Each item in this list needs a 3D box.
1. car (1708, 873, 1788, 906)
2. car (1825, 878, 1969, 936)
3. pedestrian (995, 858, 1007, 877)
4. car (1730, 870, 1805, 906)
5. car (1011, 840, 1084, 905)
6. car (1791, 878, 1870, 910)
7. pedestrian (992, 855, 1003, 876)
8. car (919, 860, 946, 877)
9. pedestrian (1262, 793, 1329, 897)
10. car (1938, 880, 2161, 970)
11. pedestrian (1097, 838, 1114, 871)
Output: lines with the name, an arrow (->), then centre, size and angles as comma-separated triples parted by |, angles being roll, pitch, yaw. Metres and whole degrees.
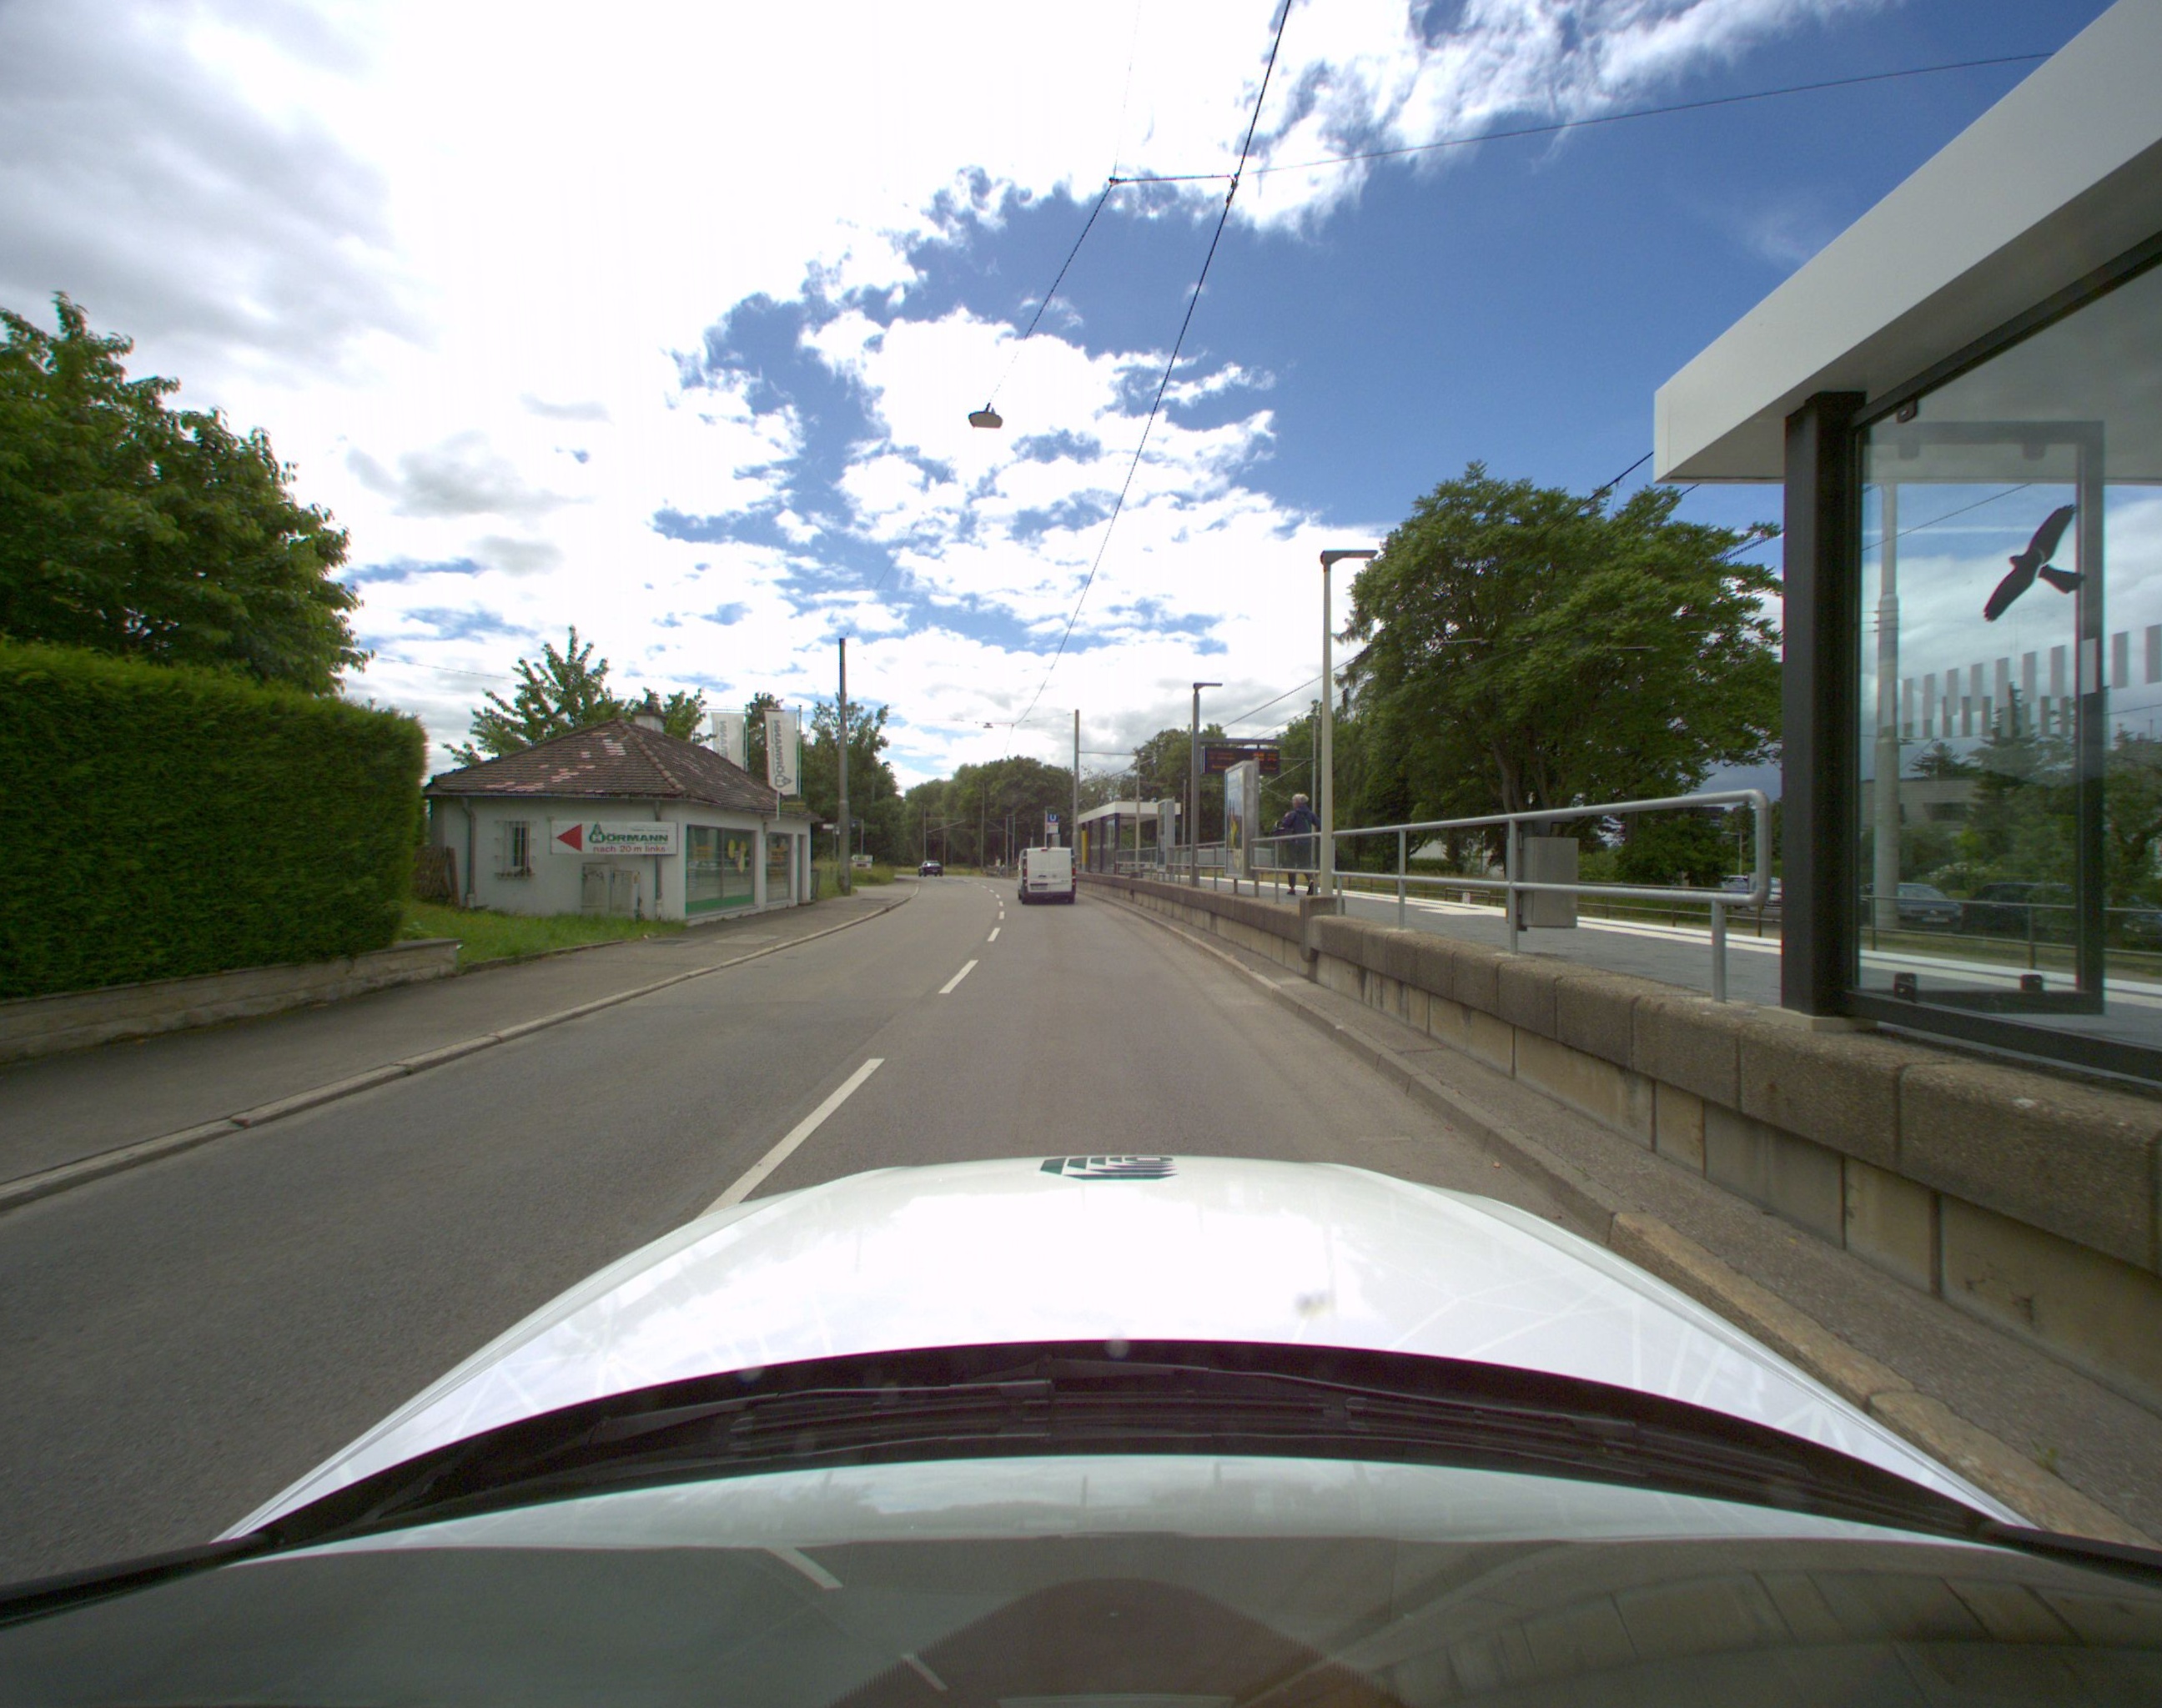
car -> 34.600, 1.803, 42.385 | 2.045, 1.574, 4.283 | 0, 0, 22
car -> 23.746, 1.508, 23.916 | 1.740, 1.488, 4.527 | 0, -2, 28
pedestrian -> -6.569, 1.103, 67.057 | 0.764, 1.492, 0.624 | 0, -1, -34
car -> 38.587, 1.868, 45.900 | 1.742, 1.844, 4.522 | 1, -1, 19
car -> -1.342, 0.629, 29.842 | 2.115, 2.134, 5.426 | 1, 0, -8
car -> 42.839, 2.222, 46.675 | 1.800, 1.636, 4.263 | 0, 0, 19
pedestrian -> -7.031, 0.970, 68.473 | 0.764, 1.795, 0.624 | 0, -1, -34
car -> -15.280, 1.487, 83.787 | 2.359, 1.564, 4.349 | 2, -1, -15
pedestrian -> 3.565, -0.138, 13.617 | 0.883, 1.671, 0.909 | 0, -1, 0
car -> 20.456, 1.357, 16.757 | 1.827, 1.488, 4.519 | 0, 0, 15
pedestrian -> 1.059, 0.025, 35.053 | 0.638, 1.404, 0.762 | 0, 1, -8
